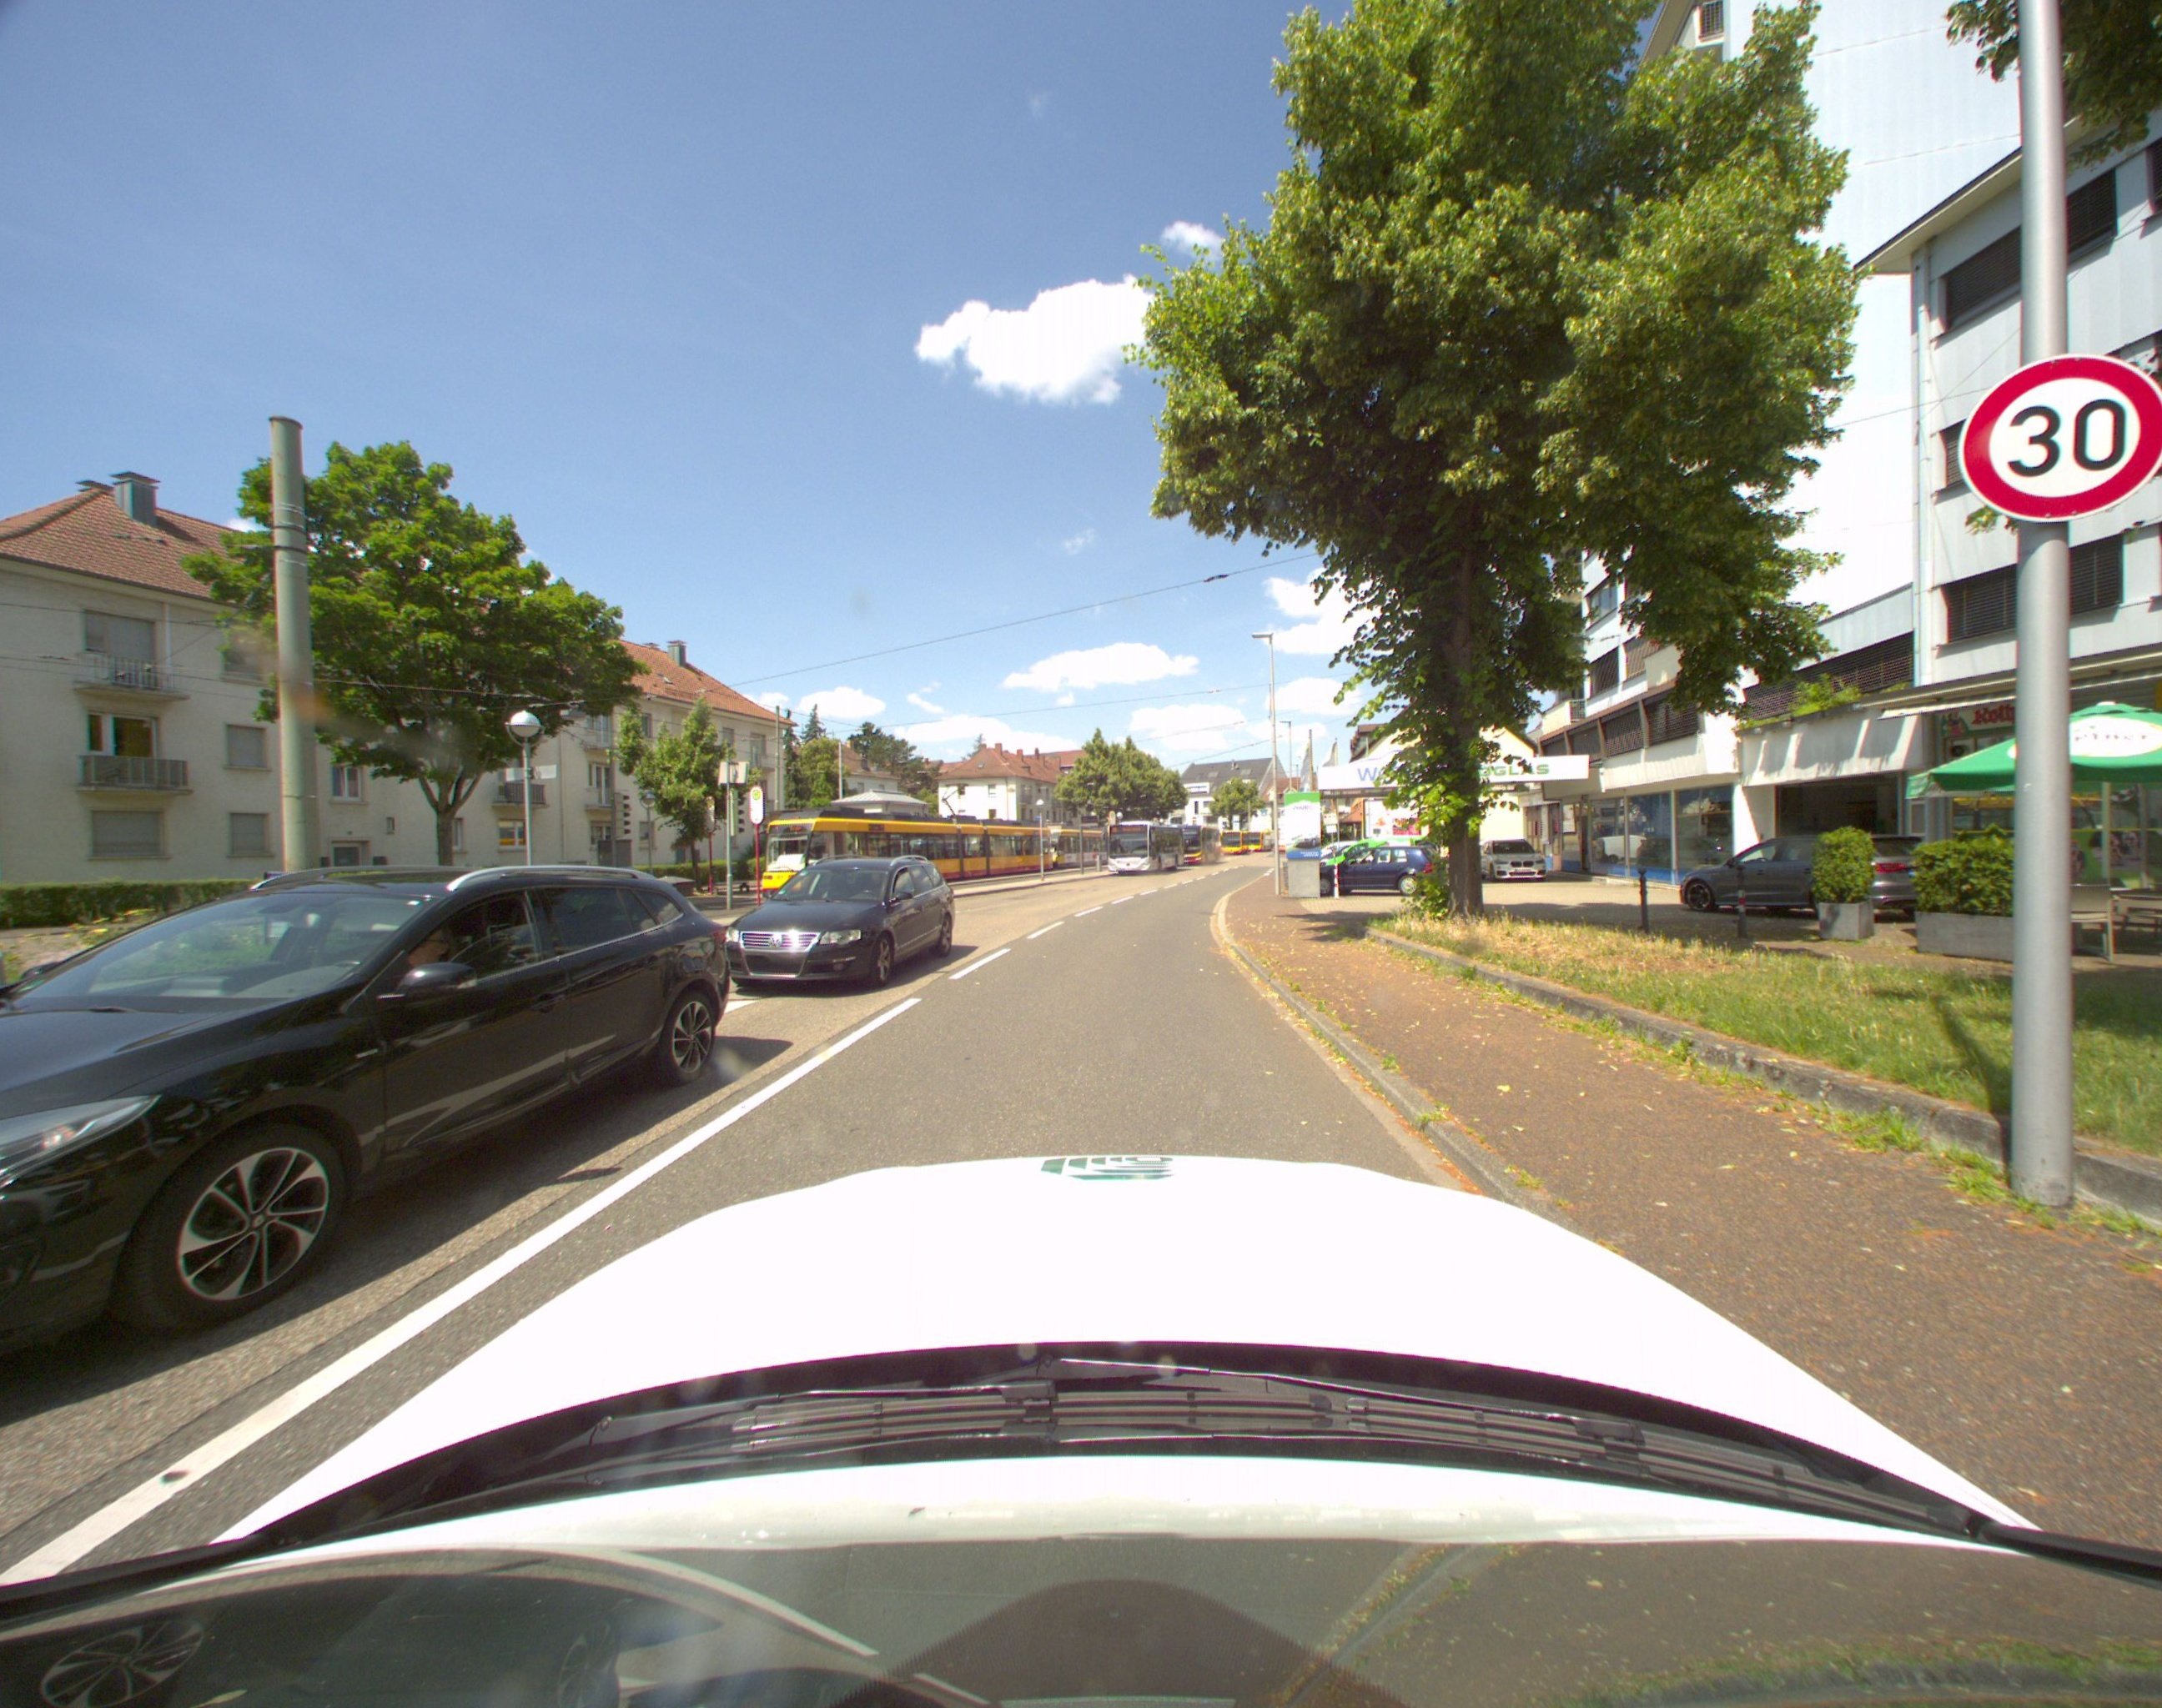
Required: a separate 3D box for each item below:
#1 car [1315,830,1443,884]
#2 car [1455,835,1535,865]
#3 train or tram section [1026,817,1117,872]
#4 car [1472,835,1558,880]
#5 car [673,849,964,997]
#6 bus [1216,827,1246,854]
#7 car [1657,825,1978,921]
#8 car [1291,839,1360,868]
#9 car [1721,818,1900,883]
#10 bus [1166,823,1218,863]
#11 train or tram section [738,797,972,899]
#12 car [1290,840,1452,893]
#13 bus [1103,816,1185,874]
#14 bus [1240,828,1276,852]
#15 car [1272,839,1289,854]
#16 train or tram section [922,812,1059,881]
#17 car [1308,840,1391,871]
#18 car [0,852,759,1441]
[{"bbox_3d":[10.669,0.121,29.380,1.849,1.794,3.983,-2,0,-33],"label":"car"},{"bbox_3d":[26.733,-0.256,52.759,4.276,1.809,2.007,0,2,11],"label":"car"},{"bbox_3d":[-0.399,-0.765,65.310,2.764,3.895,15.619,-1,0,16],"label":"train or tram section"},{"bbox_3d":[16.745,0.128,31.621,1.993,1.596,4.306,-1,0,15],"label":"car"},{"bbox_3d":[-3.081,0.720,10.762,1.983,1.519,4.519,-1,0,6],"label":"car"},{"bbox_3d":[19.282,-1.762,104.346,2.710,3.218,11.096,-1,0,16],"label":"bus"},{"bbox_3d":[12.821,0.300,14.642,1.698,1.428,4.358,-1,0,-3],"label":"car"},{"bbox_3d":[16.189,-0.029,54.041,4.274,1.809,2.008,0,2,13],"label":"car"},{"bbox_3d":[19.885,-0.098,22.489,1.978,1.585,4.401,-1,0,16],"label":"car"},{"bbox_3d":[9.680,-0.920,69.675,2.709,3.129,12.059,-1,0,16],"label":"bus"},{"bbox_3d":[-9.069,-0.279,35.964,2.788,3.568,14.242,-1,0,16],"label":"train or tram section"},{"bbox_3d":[8.569,0.385,24.214,4.118,1.439,1.914,-2,0,38],"label":"car"},{"bbox_3d":[4.226,-0.566,50.987,2.709,3.129,12.059,-1,0,16],"label":"bus"},{"bbox_3d":[25.794,-2.058,118.548,2.609,3.218,10.000,-1,0,27],"label":"bus"},{"bbox_3d":[25.982,-0.988,106.115,1.793,1.981,4.020,-1,0,19],"label":"car"},{"bbox_3d":[-4.979,-0.470,49.861,2.764,3.568,14.769,-1,0,16],"label":"train or tram section"},{"bbox_3d":[14.397,0.094,43.869,3.912,1.518,1.825,-2,0,4],"label":"car"},{"bbox_3d":[-3.656,0.766,4.184,1.985,1.500,4.430,-1,0,4],"label":"car"}]
